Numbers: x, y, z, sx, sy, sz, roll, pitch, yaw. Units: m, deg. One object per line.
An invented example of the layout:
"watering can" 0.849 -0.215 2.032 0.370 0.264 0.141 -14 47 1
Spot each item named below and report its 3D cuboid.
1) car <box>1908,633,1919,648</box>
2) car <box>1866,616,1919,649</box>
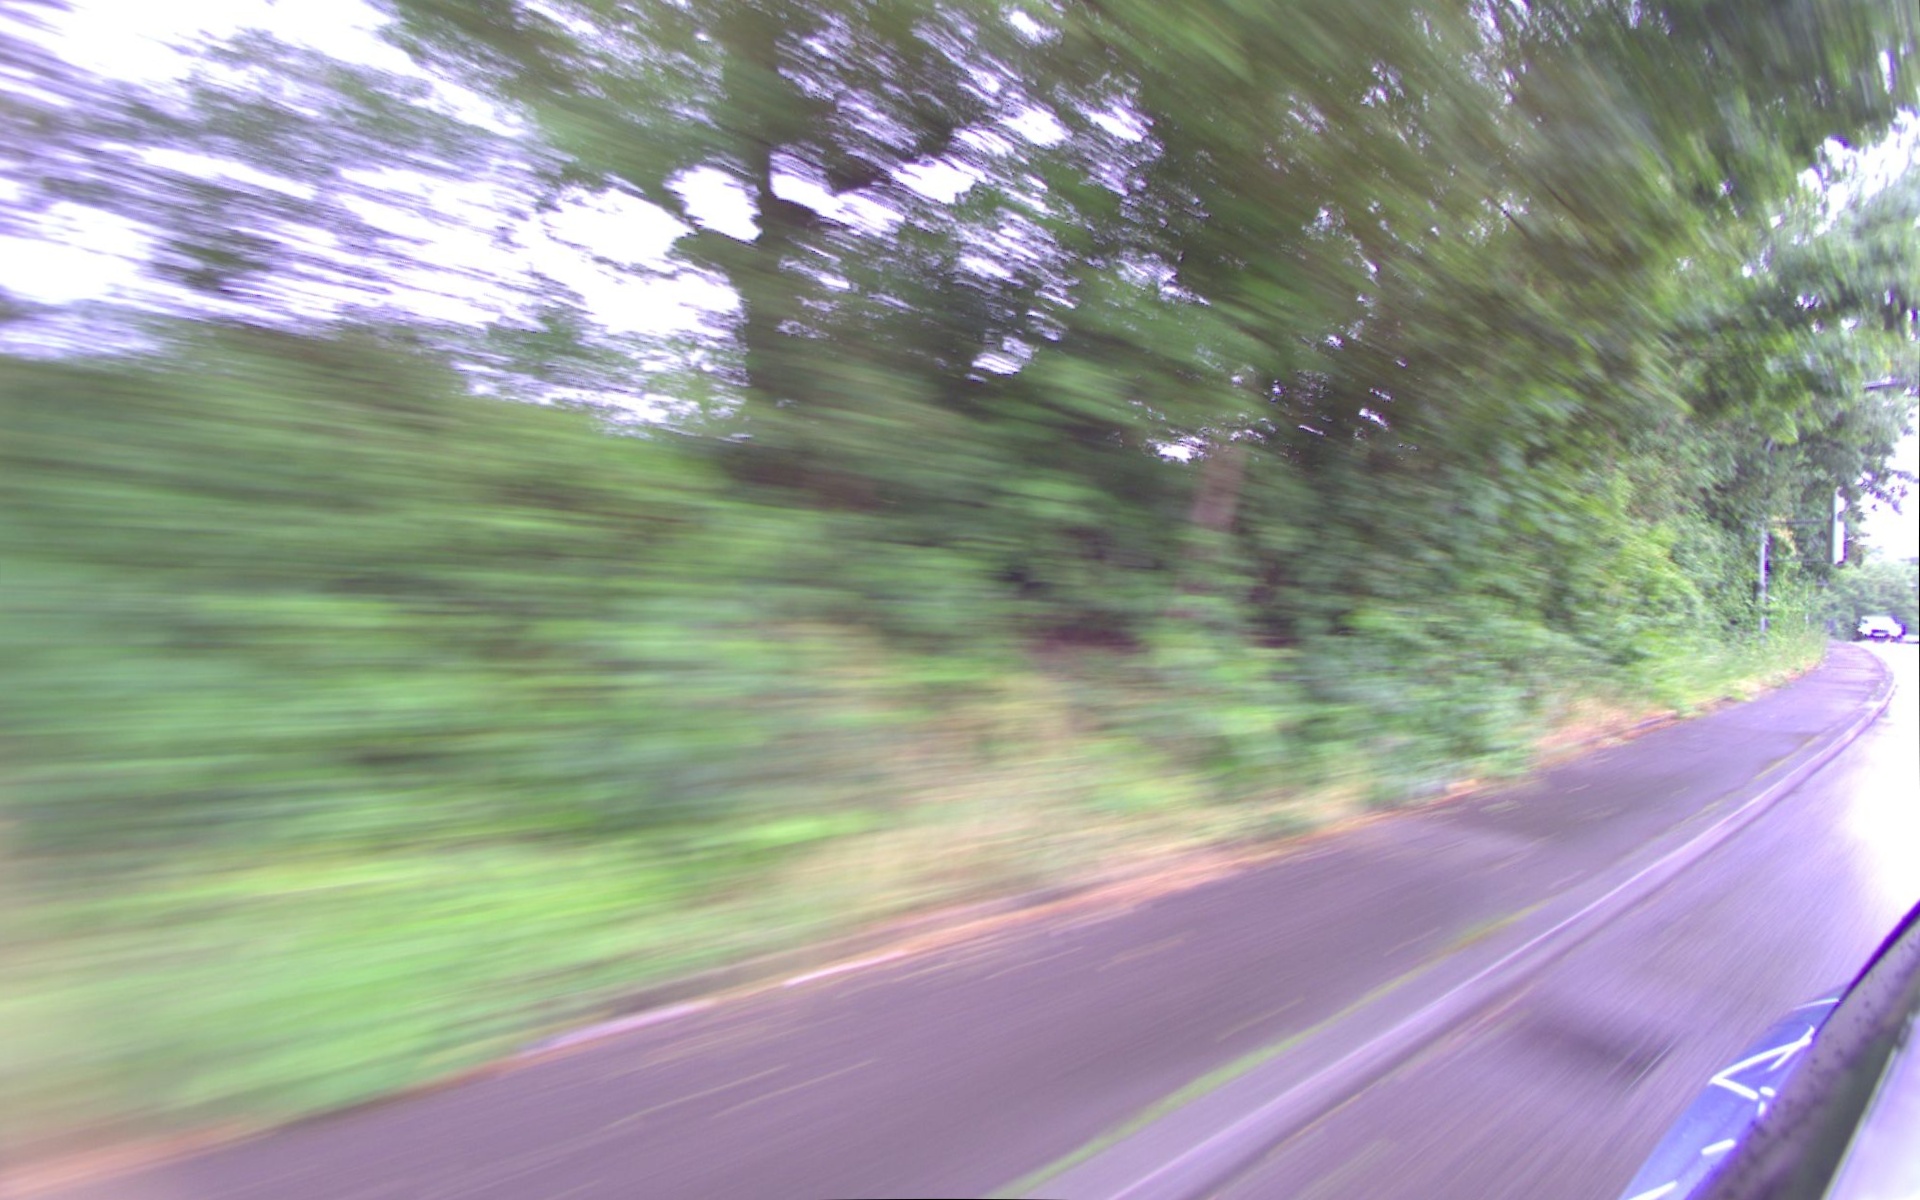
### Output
"car" 93.007 3.949 97.671 1.626 1.412 3.950 2 0 34
"car" 50.817 1.778 54.984 3.932 1.606 1.996 3 0 -43
